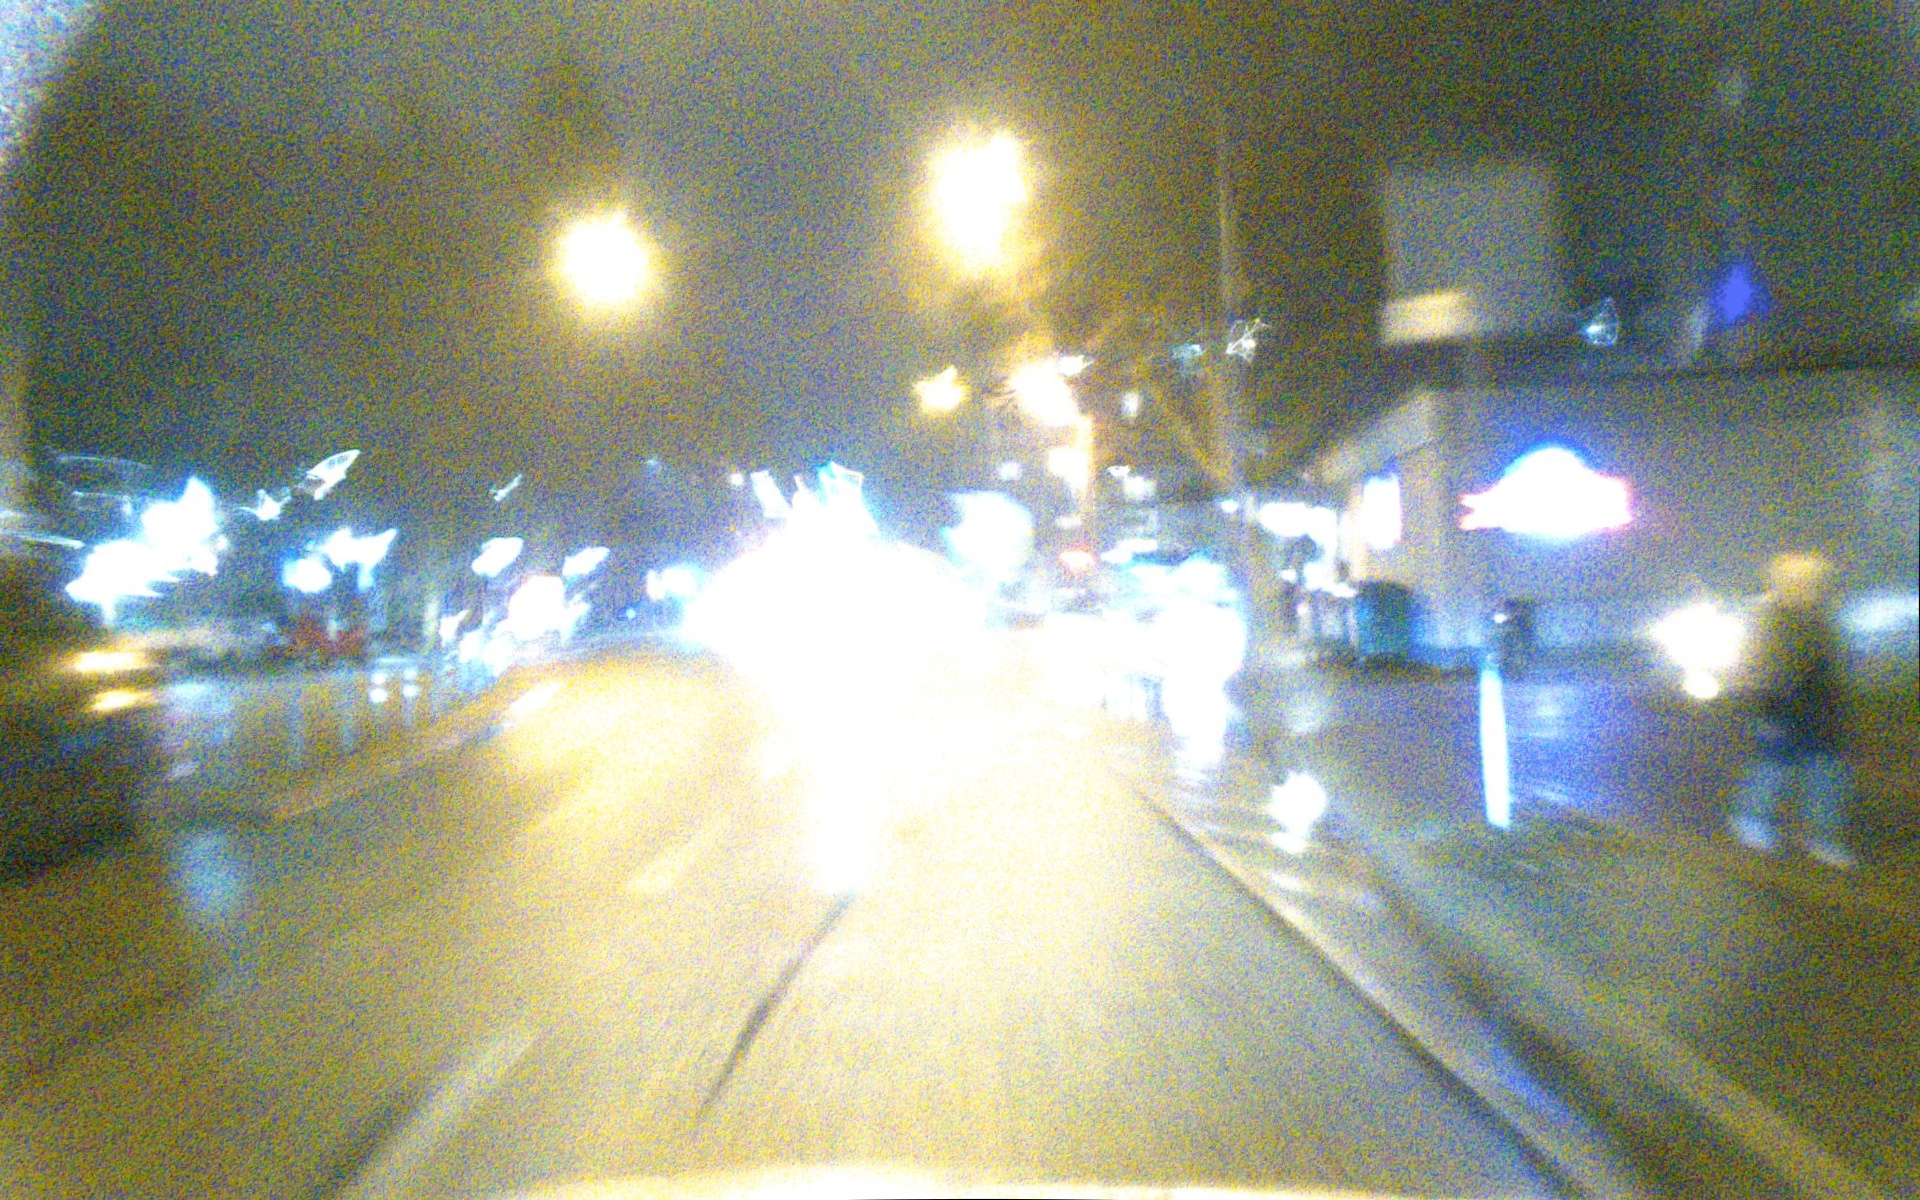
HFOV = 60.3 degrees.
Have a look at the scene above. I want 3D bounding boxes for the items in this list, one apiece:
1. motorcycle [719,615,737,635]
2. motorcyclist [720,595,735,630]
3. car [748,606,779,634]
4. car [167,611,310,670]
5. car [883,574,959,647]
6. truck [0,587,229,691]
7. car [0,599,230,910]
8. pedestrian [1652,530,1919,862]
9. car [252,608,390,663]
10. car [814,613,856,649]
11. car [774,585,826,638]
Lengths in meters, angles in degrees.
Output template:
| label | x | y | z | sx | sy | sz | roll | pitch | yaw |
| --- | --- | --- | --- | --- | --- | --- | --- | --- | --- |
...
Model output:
| label | x | y | z | sx | sy | sz | roll | pitch | yaw |
| --- | --- | --- | --- | --- | --- | --- | --- | --- | --- |
| motorcycle | -14.070 | 1.497 | 100.374 | 0.687 | 1.158 | 2.176 | -2 | 1 | 0 |
| motorcyclist | -14.105 | 0.759 | 100.311 | 0.679 | 2.048 | 0.983 | -2 | 0 | 0 |
| car | -12.051 | 1.209 | 101.323 | 1.817 | 1.525 | 4.762 | -2 | 1 | -7 |
| car | -21.346 | 1.173 | 49.094 | 1.677 | 1.547 | 3.921 | -2 | 0 | 18 |
| car | -1.203 | 0.299 | 50.221 | 2.124 | 2.006 | 4.300 | -3 | 0 | -2 |
| truck | -19.310 | 0.815 | 37.403 | 2.078 | 2.048 | 5.266 | -2 | 1 | 17 |
| car | -5.759 | 0.863 | 8.970 | 1.566 | 1.591 | 4.379 | -5 | 0 | 0 |
| pedestrian | 4.313 | 0.467 | 8.582 | 1.028 | 1.603 | 1.019 | -1 | 0 | 4 |
| car | -18.817 | 1.016 | 48.860 | 1.677 | 1.456 | 3.921 | -2 | 0 | 18 |
| car | -6.048 | 1.467 | 79.586 | 1.783 | 1.569 | 4.719 | -2 | 0 | -7 |
| car | -6.756 | 0.451 | 70.317 | 1.995 | 1.987 | 5.195 | -4 | 1 | -4 |
